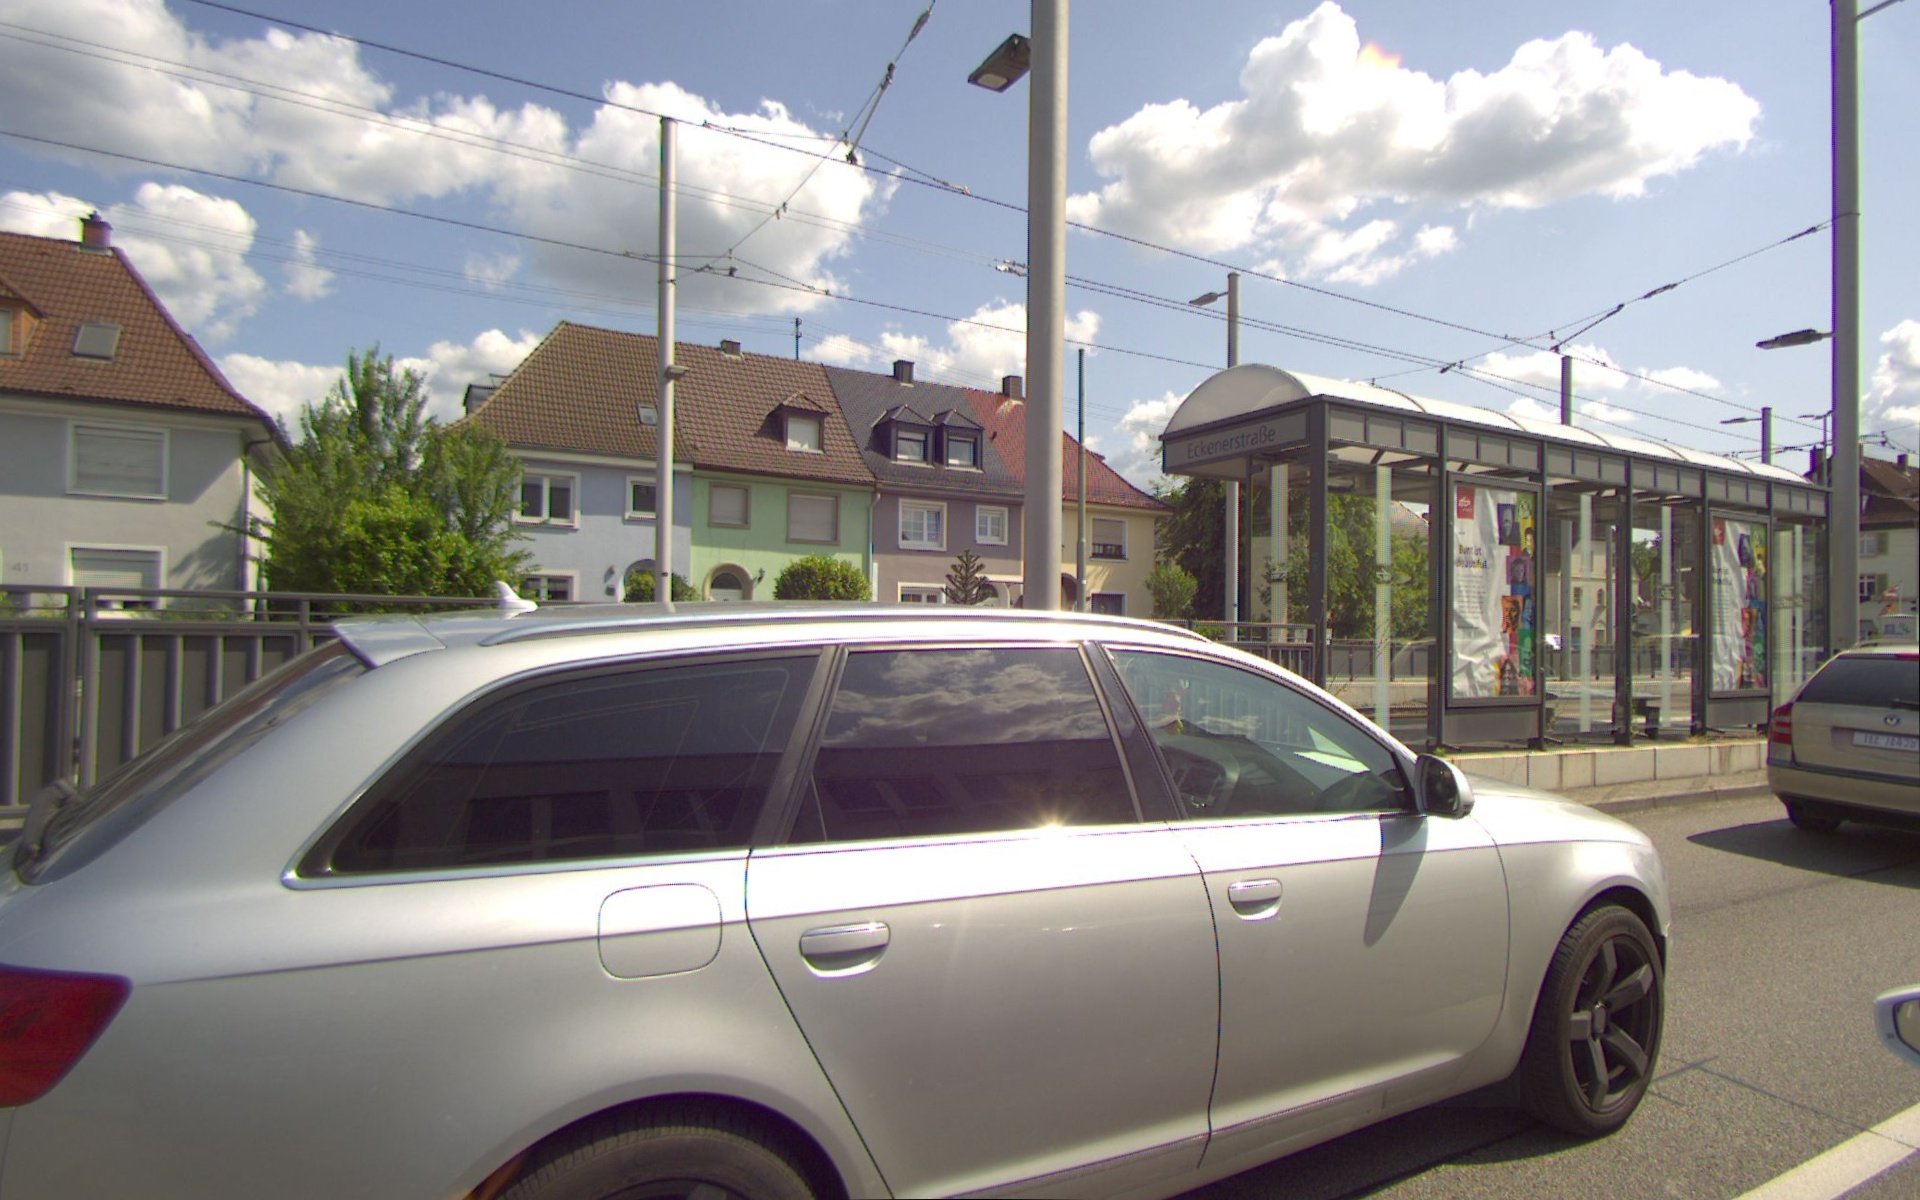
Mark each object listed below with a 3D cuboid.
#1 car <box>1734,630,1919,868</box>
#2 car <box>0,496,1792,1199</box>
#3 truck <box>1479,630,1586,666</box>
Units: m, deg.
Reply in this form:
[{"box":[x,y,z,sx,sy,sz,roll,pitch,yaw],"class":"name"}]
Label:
[{"box":[7.796,1.044,7.487,4.073,1.468,1.723,3,-1,-29],"class":"car"},{"box":[0.321,0.711,2.975,4.667,1.491,1.786,3,-1,-30],"class":"car"},{"box":[36.846,3.075,64.898,1.667,1.947,6.167,3,-1,-25],"class":"truck"}]
